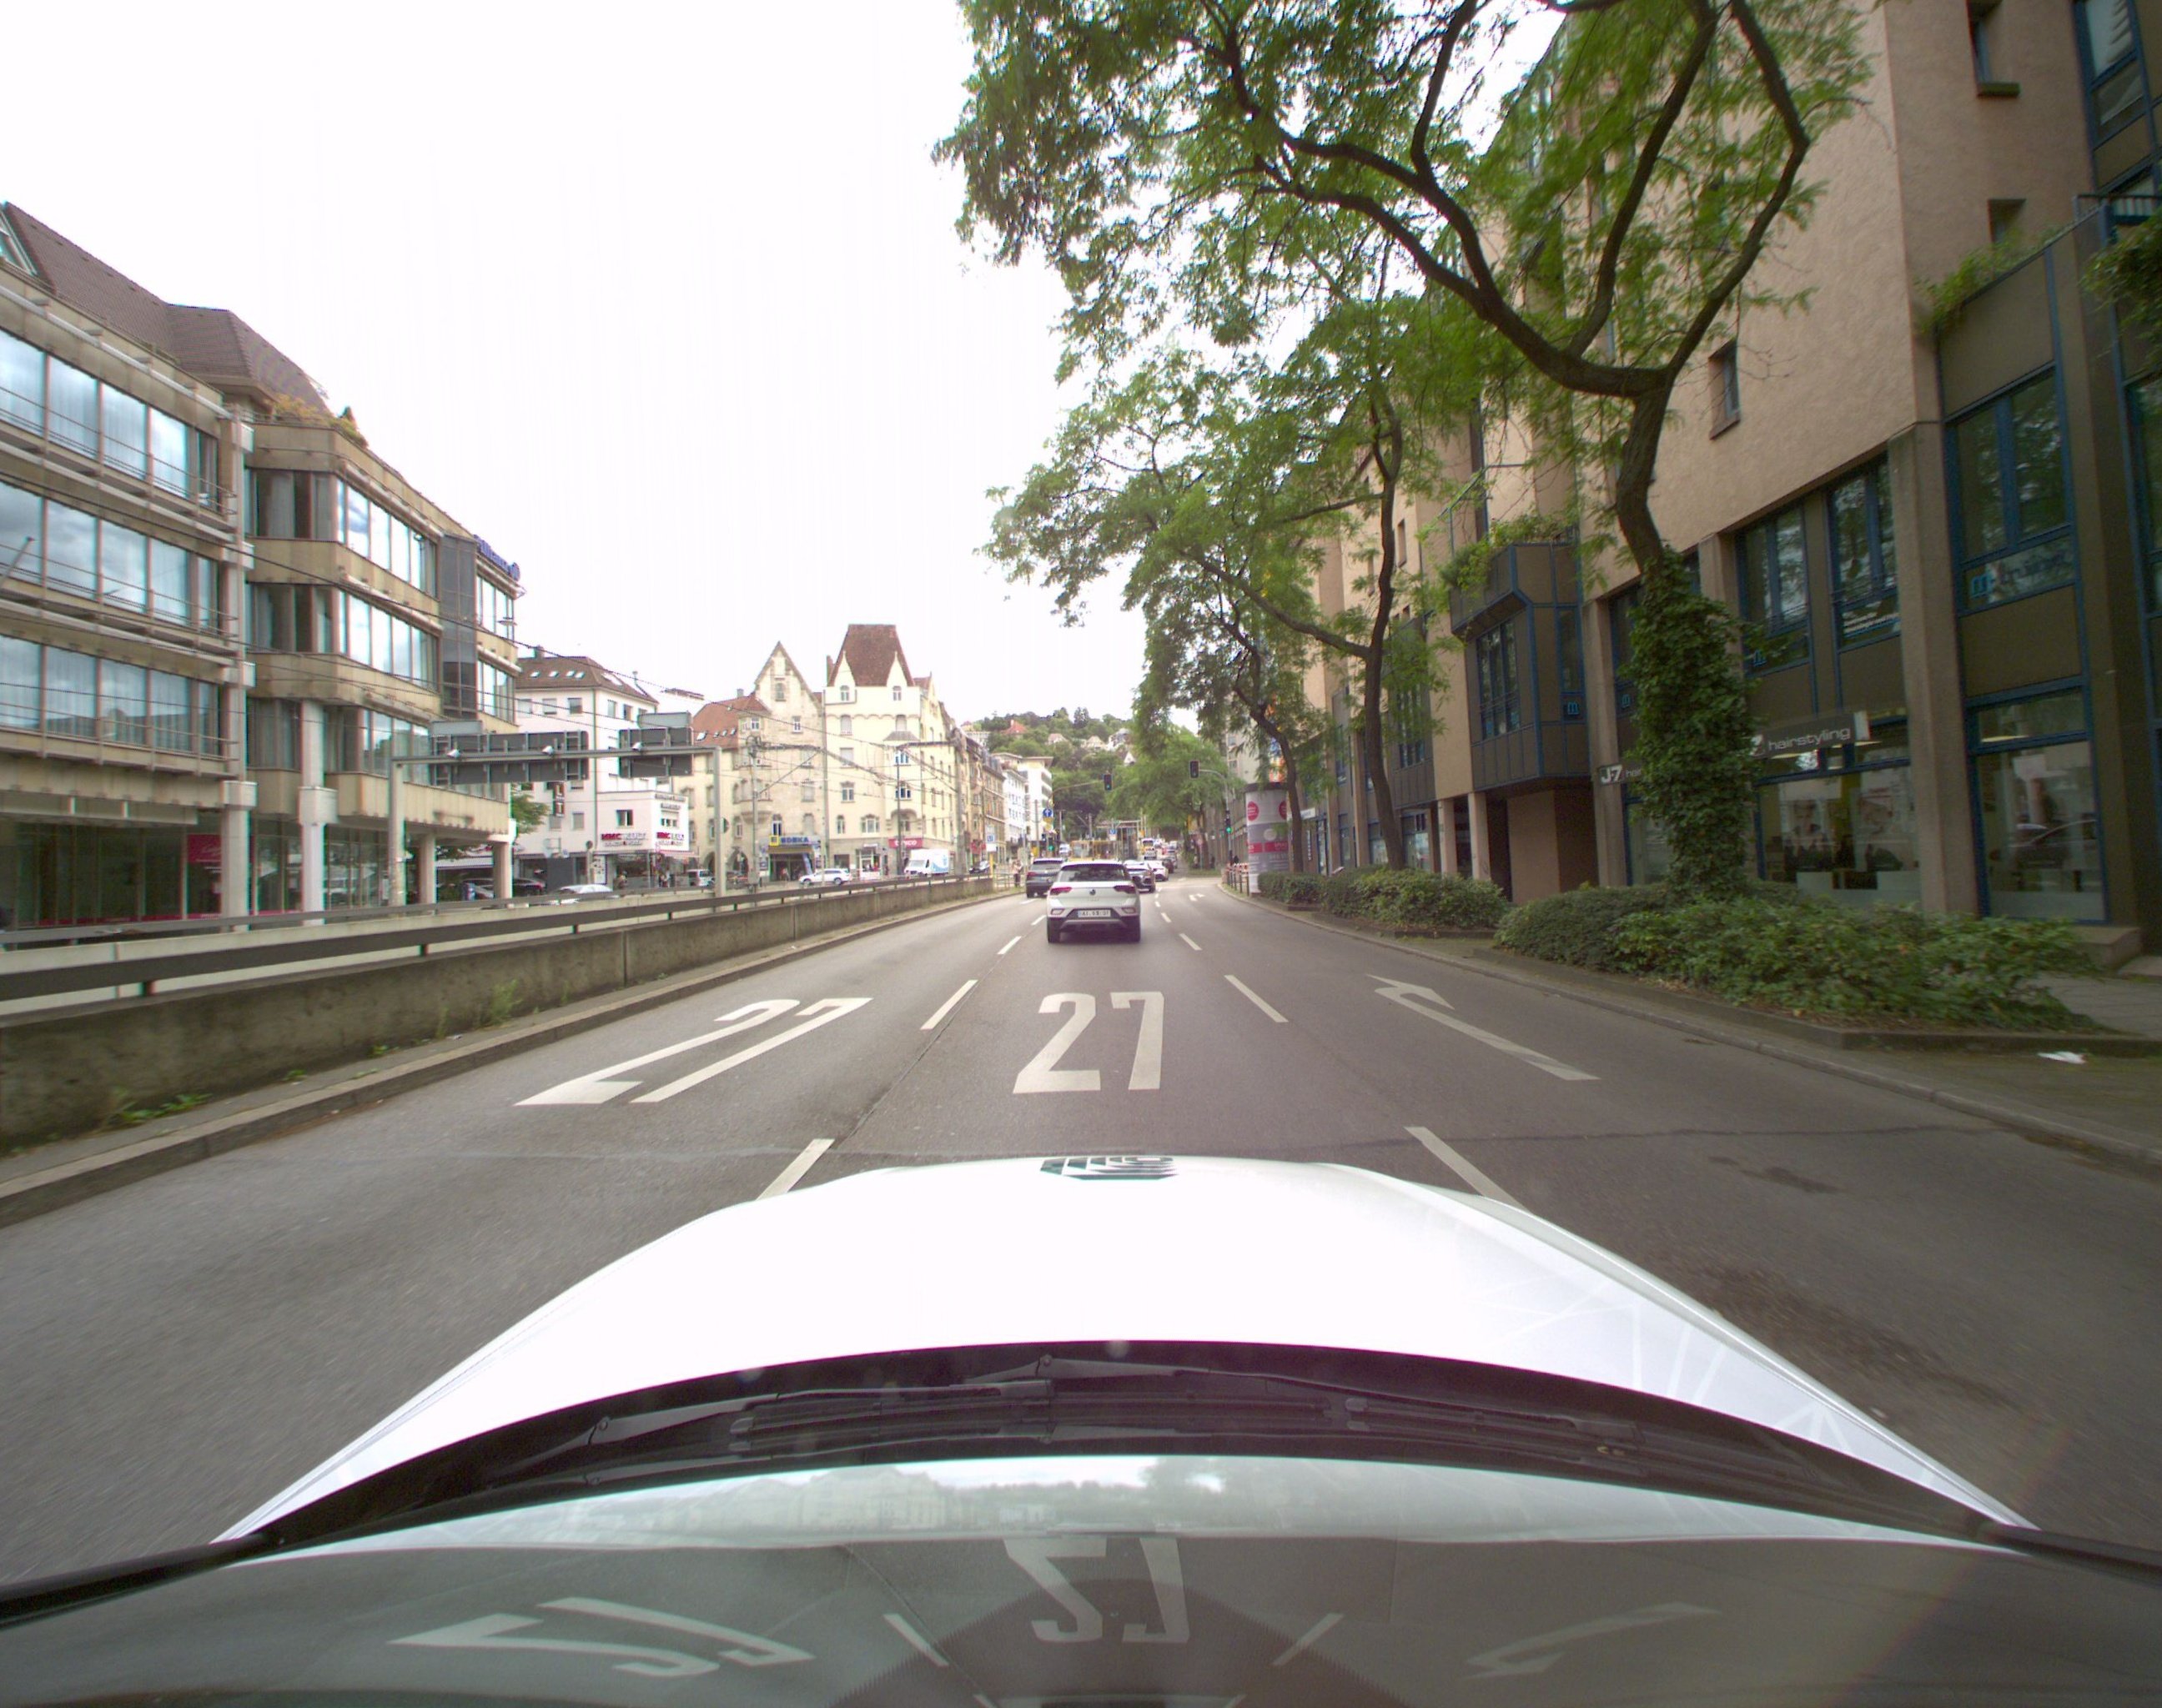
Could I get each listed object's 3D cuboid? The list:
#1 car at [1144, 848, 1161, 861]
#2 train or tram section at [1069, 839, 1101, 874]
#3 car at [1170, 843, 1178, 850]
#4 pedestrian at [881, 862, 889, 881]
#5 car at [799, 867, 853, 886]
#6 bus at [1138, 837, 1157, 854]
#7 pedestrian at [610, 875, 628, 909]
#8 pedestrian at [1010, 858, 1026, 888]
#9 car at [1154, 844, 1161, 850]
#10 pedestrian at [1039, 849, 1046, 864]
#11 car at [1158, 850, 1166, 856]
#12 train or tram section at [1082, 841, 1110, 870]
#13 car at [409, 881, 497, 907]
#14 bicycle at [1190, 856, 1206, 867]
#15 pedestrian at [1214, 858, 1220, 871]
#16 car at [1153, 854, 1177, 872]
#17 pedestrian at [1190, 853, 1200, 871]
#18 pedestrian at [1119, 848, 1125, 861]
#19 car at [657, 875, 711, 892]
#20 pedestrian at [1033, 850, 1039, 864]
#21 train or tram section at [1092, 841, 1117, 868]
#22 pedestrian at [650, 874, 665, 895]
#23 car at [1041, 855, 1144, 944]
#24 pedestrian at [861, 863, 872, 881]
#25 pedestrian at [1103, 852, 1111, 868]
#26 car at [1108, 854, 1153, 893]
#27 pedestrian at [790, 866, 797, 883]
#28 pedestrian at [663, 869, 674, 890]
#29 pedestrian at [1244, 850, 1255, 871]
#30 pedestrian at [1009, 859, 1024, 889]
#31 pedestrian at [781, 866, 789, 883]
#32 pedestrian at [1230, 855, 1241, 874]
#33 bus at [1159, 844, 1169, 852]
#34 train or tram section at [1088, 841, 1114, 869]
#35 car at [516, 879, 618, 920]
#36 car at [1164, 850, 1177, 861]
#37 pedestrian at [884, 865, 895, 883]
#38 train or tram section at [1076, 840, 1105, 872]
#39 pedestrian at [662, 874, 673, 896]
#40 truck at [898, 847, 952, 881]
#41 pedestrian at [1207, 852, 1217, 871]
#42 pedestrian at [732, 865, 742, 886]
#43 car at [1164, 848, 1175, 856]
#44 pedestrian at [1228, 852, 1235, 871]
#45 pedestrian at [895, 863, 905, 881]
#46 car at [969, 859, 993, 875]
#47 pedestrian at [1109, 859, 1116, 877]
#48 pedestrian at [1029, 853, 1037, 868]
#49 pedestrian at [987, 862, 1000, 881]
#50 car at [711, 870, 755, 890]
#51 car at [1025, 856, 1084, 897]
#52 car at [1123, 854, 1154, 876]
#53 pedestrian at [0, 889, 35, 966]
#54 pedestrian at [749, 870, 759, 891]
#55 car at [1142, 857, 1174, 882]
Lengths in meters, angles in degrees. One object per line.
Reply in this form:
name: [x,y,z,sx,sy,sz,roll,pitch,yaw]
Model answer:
car: [11.641,0.134,132.858,2.350,2.014,5.162,-1,-1,10]
train or tram section: [0.461,0.232,90.586,2.820,3.678,5.763,-1,0,7]
car: [22.108,-1.860,193.444,1.665,1.561,3.685,-1,-1,6]
pedestrian: [-19.407,1.729,80.585,0.571,1.780,0.513,-2,-1,11]
car: [-23.055,2.027,73.795,4.504,1.561,1.747,-1,-1,-13]
bus: [13.844,-1.684,168.759,3.354,3.065,13.348,-1,-1,6]
pedestrian: [-24.523,1.999,43.241,0.507,1.780,0.578,-2,-1,9]
pedestrian: [-3.765,1.122,48.627,0.788,1.721,0.774,-2,-1,6]
car: [19.435,-1.766,206.066,1.665,1.561,3.993,-1,-1,6]
pedestrian: [-4.512,0.275,95.794,0.623,1.762,0.848,-2,-1,7]
car: [15.956,-0.247,160.902,1.574,1.172,3.685,-1,-1,6]
train or tram section: [1.890,0.142,102.043,2.820,3.521,5.763,-1,0,7]
car: [-40.230,2.554,52.251,3.986,1.530,1.945,-1,-1,-9]
bicycle: [13.106,0.848,91.312,1.702,1.184,0.448,-4,0,-1]
pedestrian: [13.182,1.021,78.899,0.469,1.333,0.520,-1,-1,2]
car: [9.707,1.062,94.602,2.356,2.014,5.150,-1,-1,2]
pedestrian: [11.391,0.807,81.276,0.690,1.777,0.690,-6,-1,2]
pedestrian: [5.509,0.134,109.551,0.713,1.731,0.672,-1,-1,8]
car: [-36.706,2.720,75.318,4.466,1.561,1.762,-1,-1,15]
pedestrian: [-5.386,0.341,97.508,0.634,1.711,0.689,-2,0,-2]
train or tram section: [3.353,0.040,113.517,2.820,3.521,5.763,-1,0,7]
pedestrian: [-34.659,2.476,66.656,0.777,1.705,0.655,-2,-1,12]
car: [0.212,0.847,16.782,1.831,1.584,4.156,-1,-1,0]
pedestrian: [-21.845,1.828,82.878,0.777,1.705,0.655,-2,-1,12]
pedestrian: [2.767,0.610,86.024,0.682,1.711,0.713,-2,0,6]
car: [2.349,0.860,37.458,1.875,1.684,4.167,-1,-1,6]
pedestrian: [-30.523,2.204,86.571,0.574,1.780,0.510,-2,-1,-7]
pedestrian: [-35.161,2.181,69.402,0.505,1.780,0.601,-2,-1,19]
pedestrian: [15.842,0.611,76.664,0.832,2.014,0.765,-1,-1,2]
pedestrian: [-3.783,1.171,47.870,0.760,1.721,0.638,-2,-1,6]
pedestrian: [-30.918,2.151,84.934,0.580,1.780,0.505,-1,-1,-44]
pedestrian: [14.052,0.949,74.133,0.756,1.612,0.621,-3,2,18]
bus: [20.553,-1.480,201.467,1.986,2.014,4.001,-1,-1,2]
train or tram section: [2.633,0.082,107.790,2.820,3.521,5.763,-1,0,7]
car: [-21.950,1.916,34.955,1.657,1.501,4.045,-2,0,2]
car: [13.717,0.280,124.620,1.875,1.684,4.169,-1,-1,7]
pedestrian: [-19.457,2.061,82.870,0.780,1.780,0.672,-2,-1,37]
train or tram section: [1.174,0.216,96.320,2.820,3.521,5.763,-1,0,7]
pedestrian: [-34.182,2.579,67.255,0.505,1.780,0.579,-2,-1,19]
truck: [-14.799,0.933,77.838,2.251,3.076,7.398,-1,-1,12]
pedestrian: [12.847,0.755,79.861,0.718,1.803,0.835,-4,2,2]
pedestrian: [-29.774,1.876,70.416,0.569,1.780,0.515,-2,-1,33]
car: [19.252,-0.426,177.440,1.872,1.684,4.176,-1,-1,13]
pedestrian: [14.114,0.691,76.414,0.516,1.789,0.765,-1,-1,2]
pedestrian: [-18.047,1.778,81.050,0.703,1.780,0.599,-2,-1,22]
car: [-11.798,1.538,96.429,1.665,1.759,4.791,-1,-1,7]
pedestrian: [3.120,1.402,80.780,0.632,1.711,0.873,-2,0,6]
pedestrian: [-5.517,0.744,93.291,0.684,1.711,0.663,-2,0,5]
pedestrian: [-8.084,1.578,75.103,0.866,1.705,0.817,-2,-1,35]
car: [-34.134,2.518,79.849,3.738,1.684,1.645,-4,-1,21]
car: [-1.086,0.935,35.282,1.983,1.636,4.006,-2,-1,6]
car: [5.535,1.045,77.533,2.350,2.014,5.162,-1,-1,10]
pedestrian: [-26.193,1.770,19.727,0.728,1.811,0.740,-1,-1,1]
pedestrian: [-28.002,2.271,69.807,0.505,1.780,0.579,-2,-1,19]
car: [5.497,1.078,58.323,1.879,1.684,4.160,-1,-1,0]
